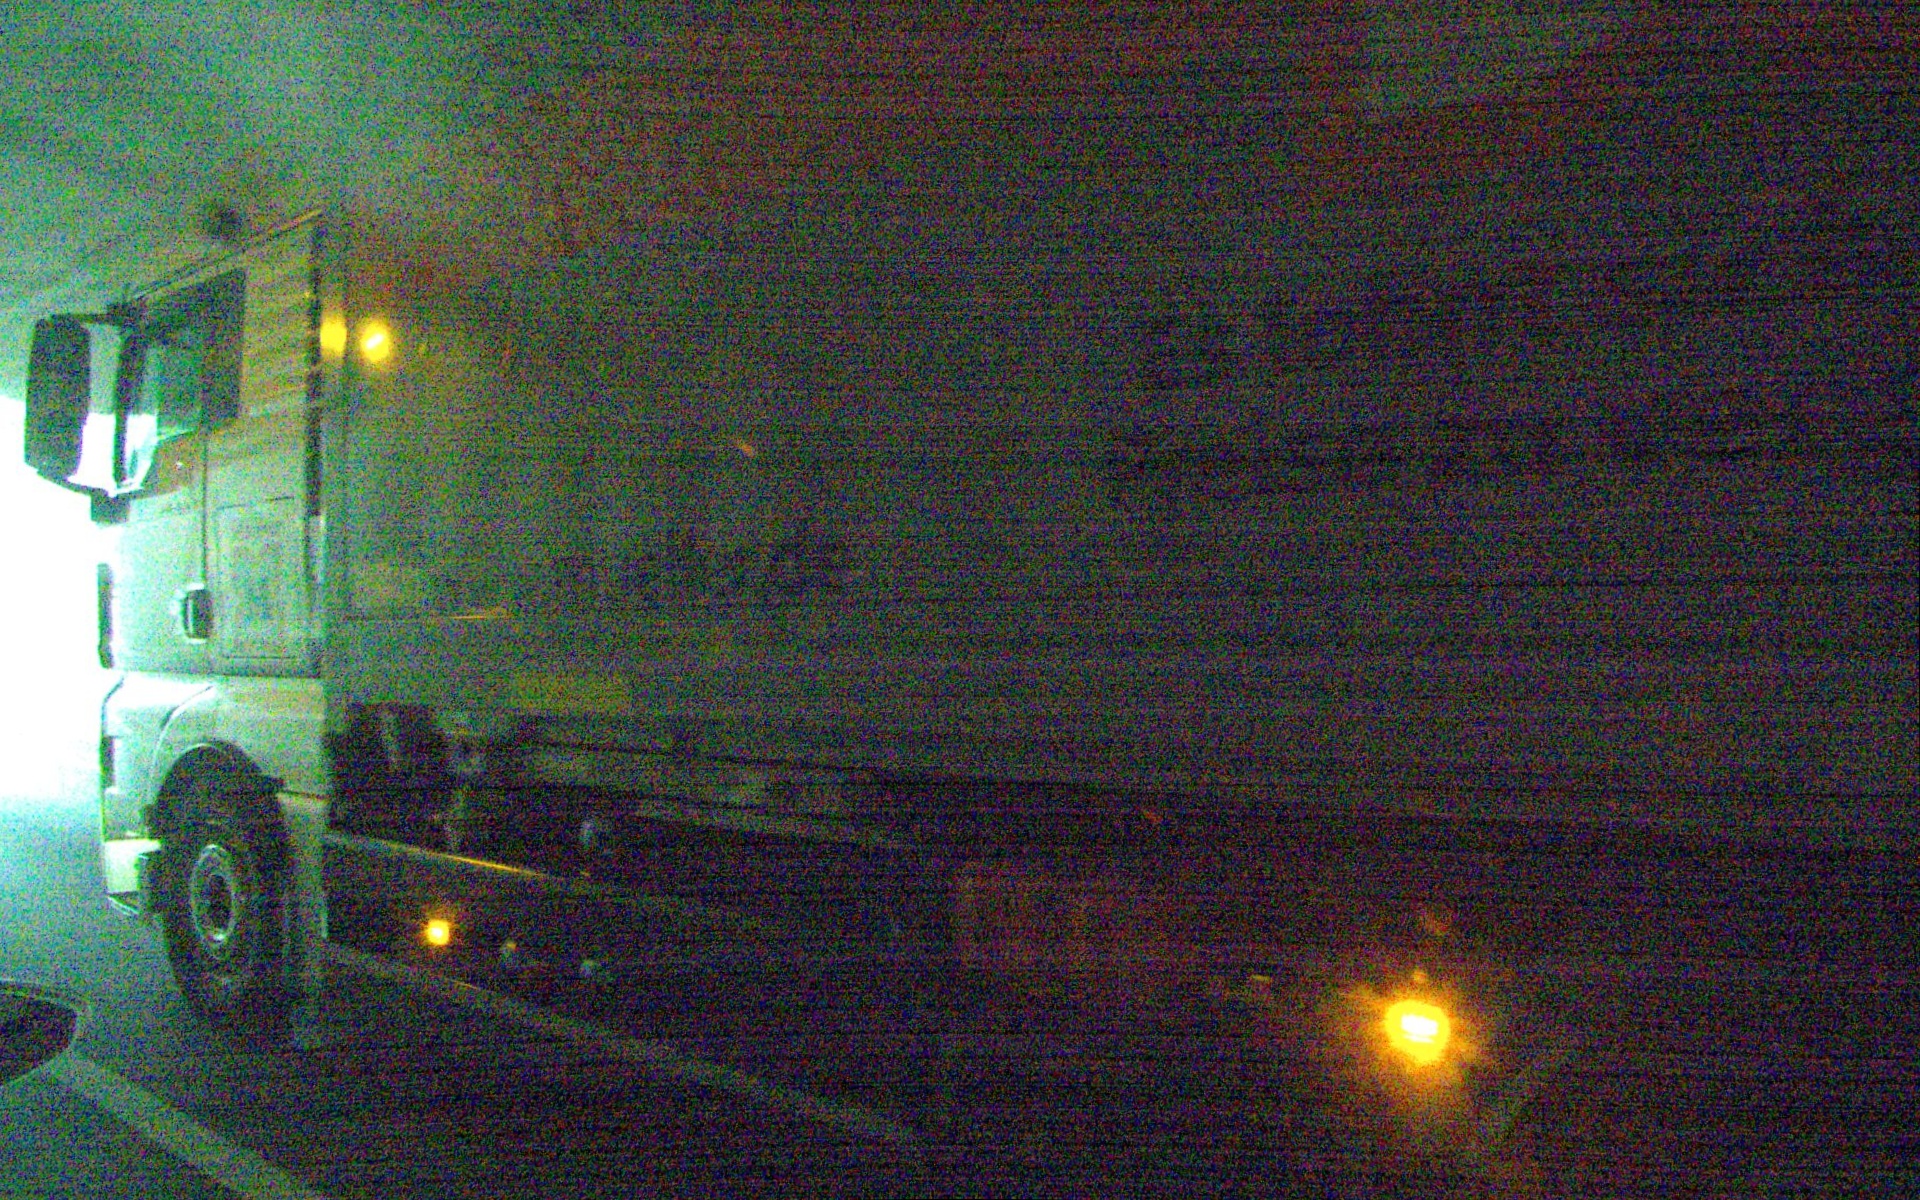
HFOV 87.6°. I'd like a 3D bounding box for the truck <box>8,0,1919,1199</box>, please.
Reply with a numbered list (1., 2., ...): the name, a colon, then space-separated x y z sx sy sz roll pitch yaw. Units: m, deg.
1. truck: 0.772 -0.472 2.957 9.767 3.964 2.884 -1 -1 32
